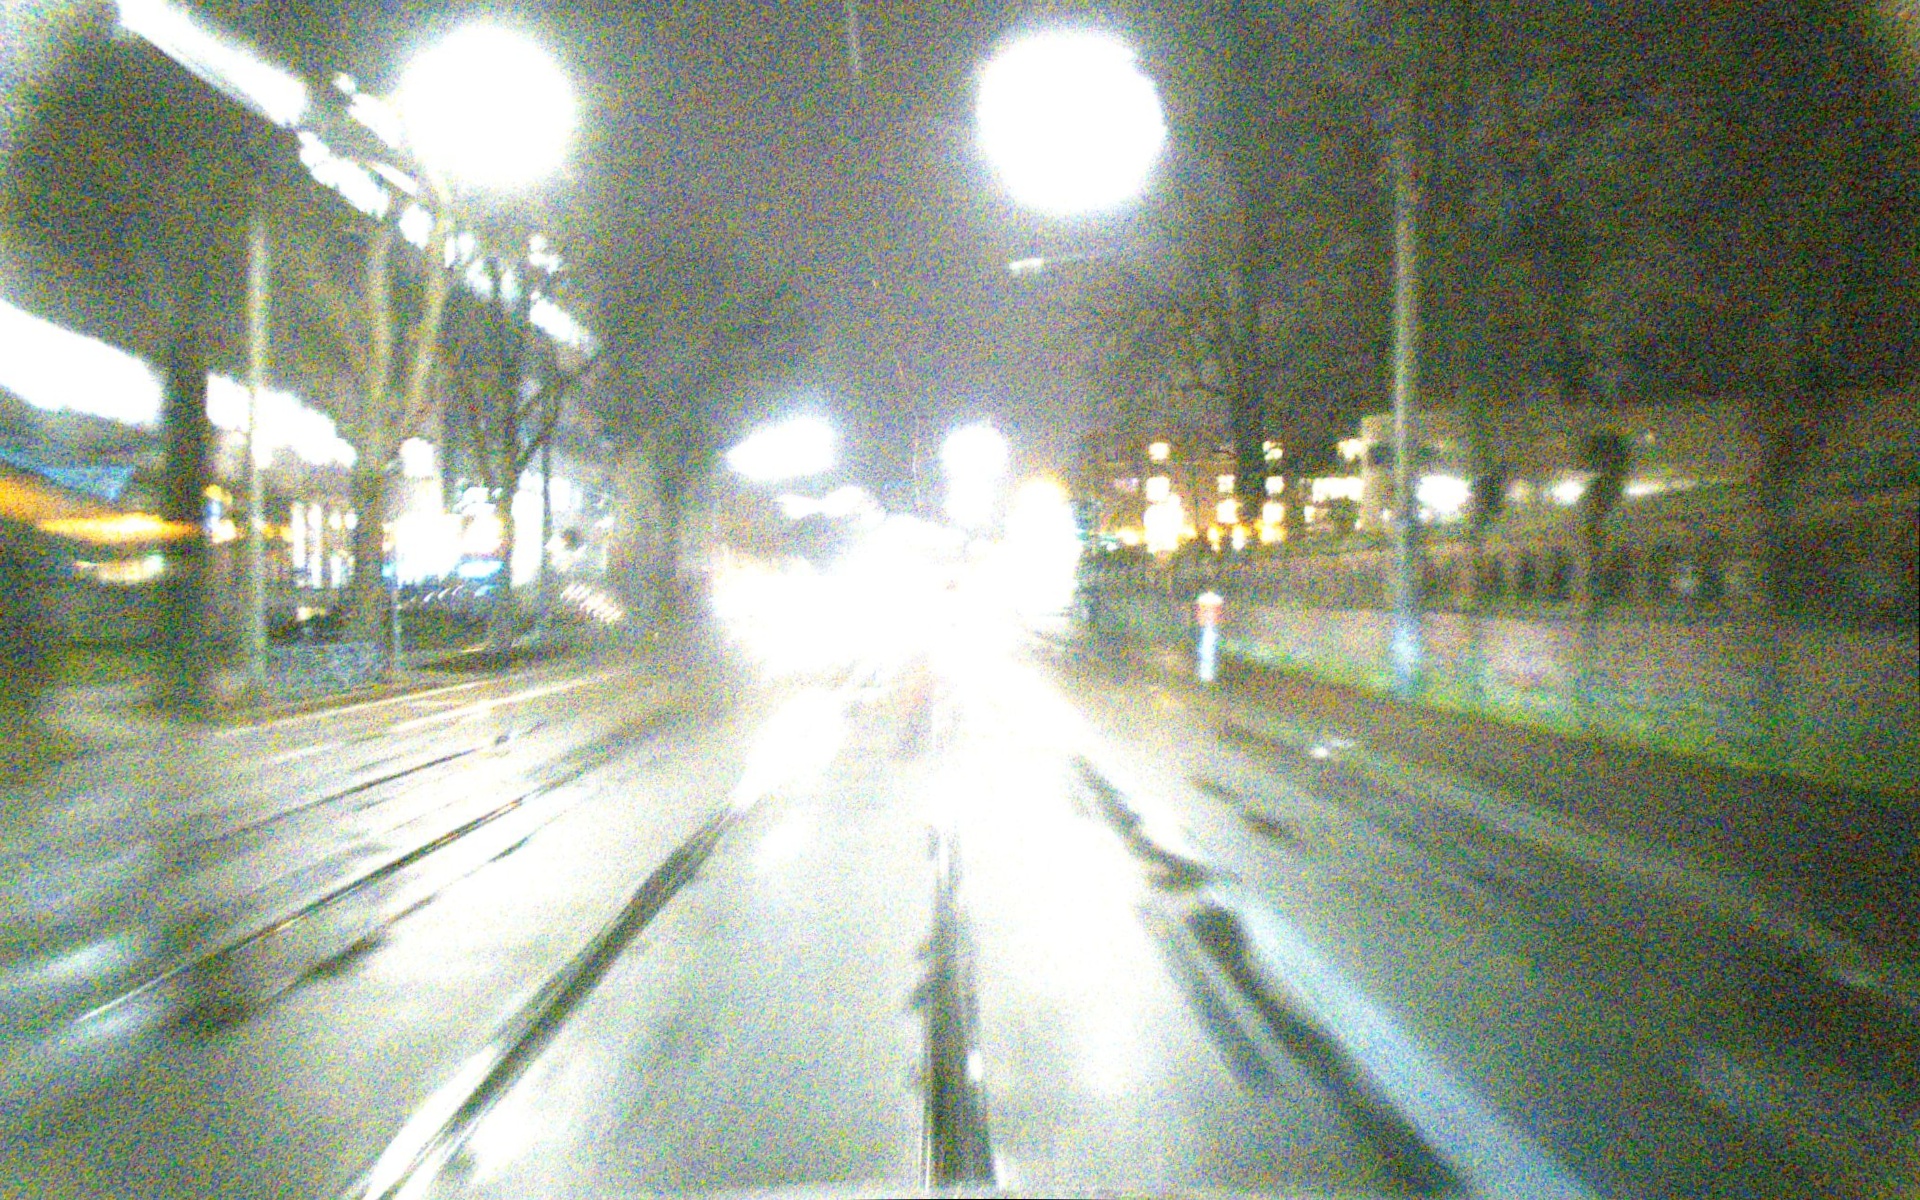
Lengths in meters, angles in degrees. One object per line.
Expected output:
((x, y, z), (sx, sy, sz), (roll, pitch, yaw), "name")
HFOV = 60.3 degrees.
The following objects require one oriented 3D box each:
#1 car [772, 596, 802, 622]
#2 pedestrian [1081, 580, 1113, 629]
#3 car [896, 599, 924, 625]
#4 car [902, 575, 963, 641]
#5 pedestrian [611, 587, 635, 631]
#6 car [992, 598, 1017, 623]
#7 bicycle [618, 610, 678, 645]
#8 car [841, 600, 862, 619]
((-13.756, 0.737, 131.587), (1.953, 2.049, 4.000), (1, 0, 0), "car")
((4.868, 0.162, 58.929), (0.921, 1.693, 0.993), (-2, 0, -5), "pedestrian")
((-3.670, 0.902, 121.653), (1.953, 1.847, 3.998), (1, 0, -2), "car")
((-1.092, 0.319, 63.149), (2.199, 2.402, 4.392), (1, 0, -2), "car")
((-13.479, 0.369, 66.120), (0.770, 1.716, 0.882), (1, -1, -1), "pedestrian")
((3.851, 0.911, 144.214), (1.953, 2.049, 3.999), (1, 0, -2), "car")
((-10.150, 0.886, 53.889), (1.816, 1.096, 0.627), (1, -1, -1), "bicycle")
((-10.445, 0.881, 159.015), (1.954, 1.755, 4.072), (1, 0, -4), "car")
